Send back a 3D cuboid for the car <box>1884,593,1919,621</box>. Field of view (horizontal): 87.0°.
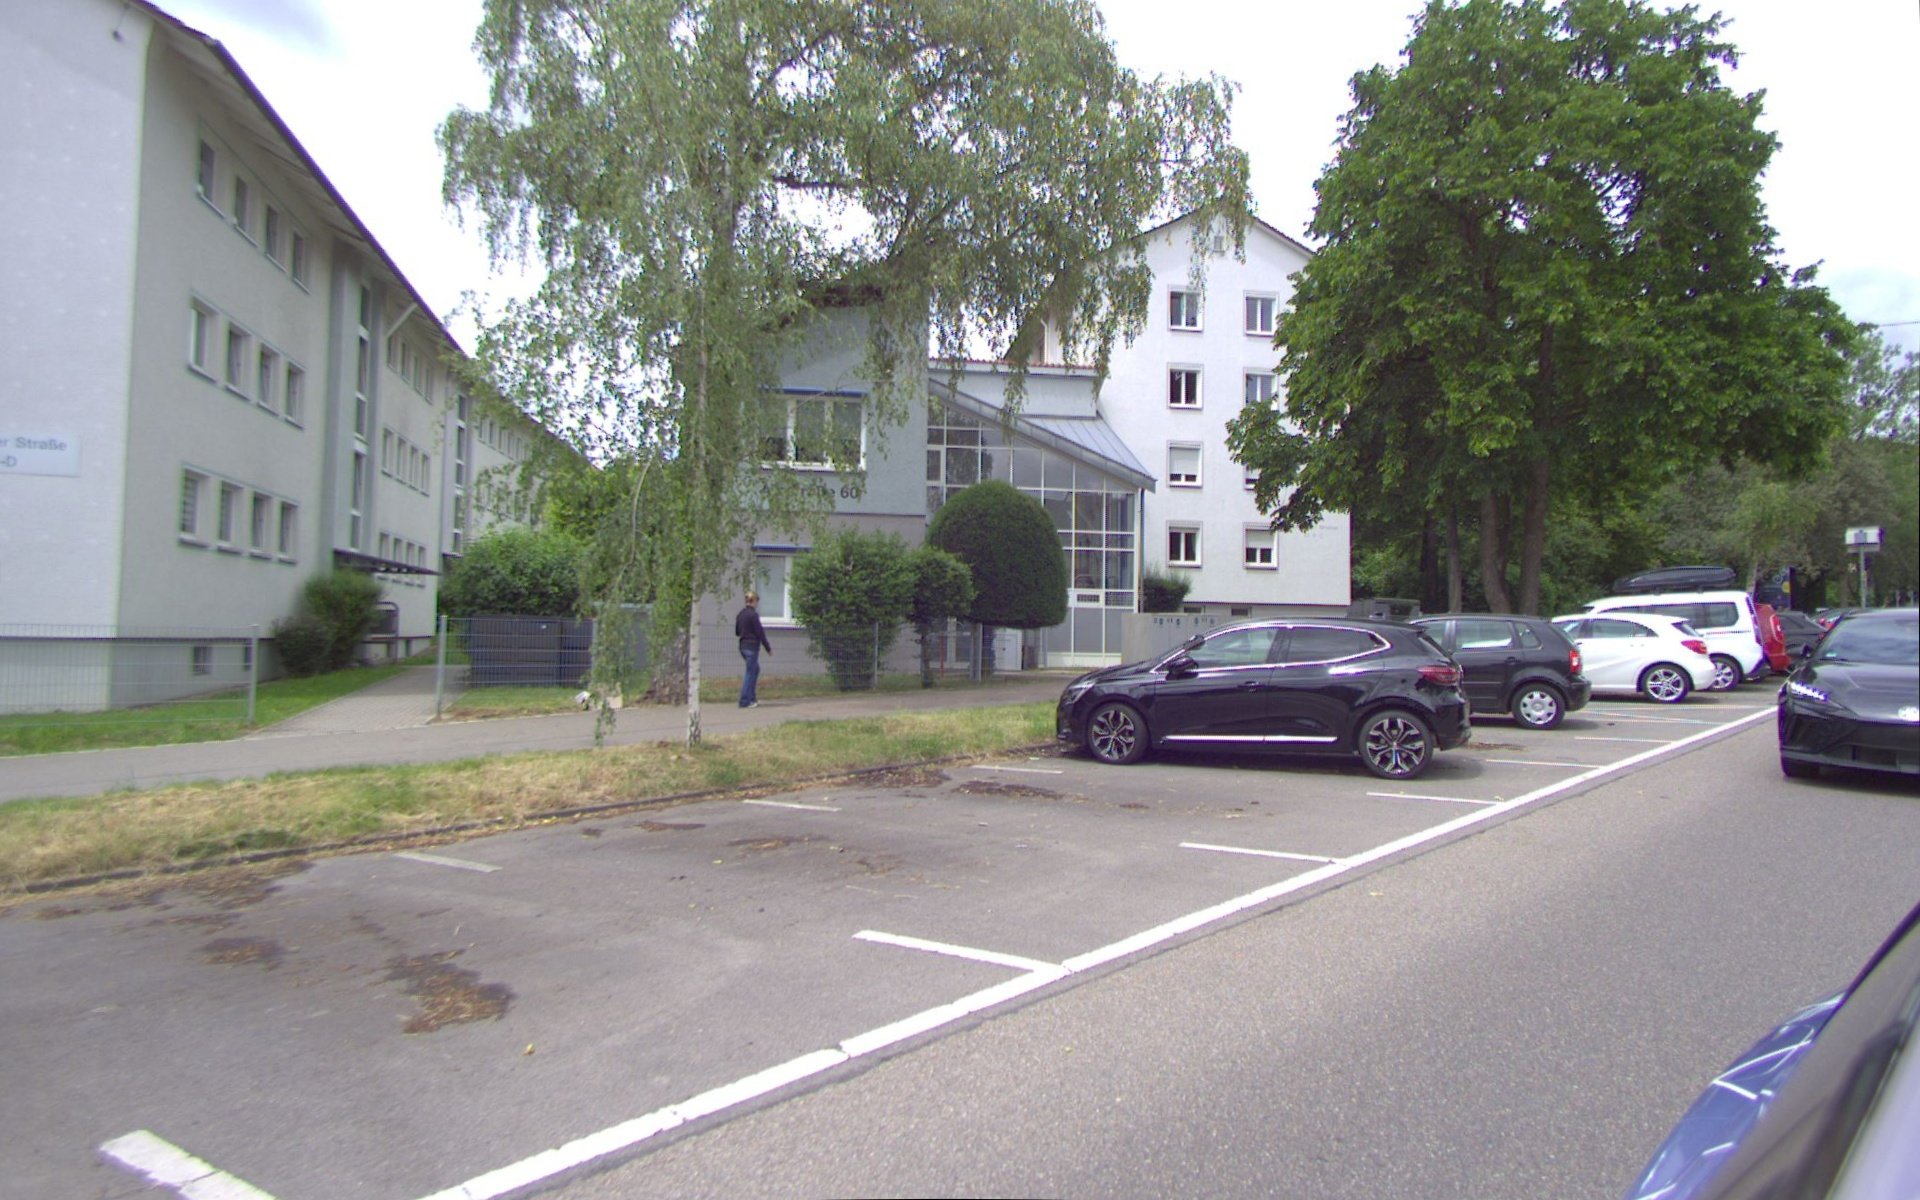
[{"bbox_3d":[49.169,0.314,50.924,3.841,1.404,1.630,-2,-1,42],"label":"car"}]

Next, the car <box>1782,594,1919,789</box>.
[{"bbox_3d":[8.885,0.703,9.053,3.728,1.511,1.811,0,0,-42],"label":"car"}]

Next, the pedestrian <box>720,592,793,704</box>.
[{"bbox_3d":[-2.857,0.654,14.259,0.688,1.523,0.770,-1,-1,29],"label":"pedestrian"}]

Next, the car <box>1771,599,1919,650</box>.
[{"bbox_3d":[30.138,0.829,34.319,3.824,1.633,1.638,-2,-1,30],"label":"car"}]

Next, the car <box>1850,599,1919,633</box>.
[{"bbox_3d":[45.099,0.749,48.327,3.841,1.582,1.630,-2,-1,42],"label":"car"}]

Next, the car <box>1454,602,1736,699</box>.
[{"bbox_3d":[10.604,0.809,17.093,3.832,1.457,1.694,-2,-1,36],"label":"car"}]

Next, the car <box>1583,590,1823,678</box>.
[{"bbox_3d":[15.277,0.696,21.036,3.832,1.664,1.829,-2,-1,36],"label":"car"}]

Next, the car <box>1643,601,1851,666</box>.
[{"bbox_3d":[18.938,0.810,24.569,3.832,1.453,1.634,-2,-1,36],"label":"car"}]

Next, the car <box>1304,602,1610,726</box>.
[{"bbox_3d":[6.651,0.813,13.740,3.482,1.483,1.698,-2,-1,29],"label":"car"}]

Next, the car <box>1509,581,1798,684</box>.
[{"bbox_3d":[12.886,0.621,19.167,4.177,1.781,1.843,-2,-1,25],"label":"car"}]

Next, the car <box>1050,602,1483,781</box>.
[{"bbox_3d":[2.991,0.819,10.101,3.815,1.452,1.702,-2,1,25],"label":"car"}]

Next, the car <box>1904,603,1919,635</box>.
[{"bbox_3d":[52.142,0.973,52.982,3.841,1.664,1.630,-2,-1,42],"label":"car"}]

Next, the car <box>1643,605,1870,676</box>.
[{"bbox_3d":[17.585,0.880,22.593,3.832,1.453,1.634,-2,-1,36],"label":"car"}]

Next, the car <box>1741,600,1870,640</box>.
[{"bbox_3d":[35.221,0.824,42.297,3.824,1.578,1.638,-2,-1,30],"label":"car"}]
